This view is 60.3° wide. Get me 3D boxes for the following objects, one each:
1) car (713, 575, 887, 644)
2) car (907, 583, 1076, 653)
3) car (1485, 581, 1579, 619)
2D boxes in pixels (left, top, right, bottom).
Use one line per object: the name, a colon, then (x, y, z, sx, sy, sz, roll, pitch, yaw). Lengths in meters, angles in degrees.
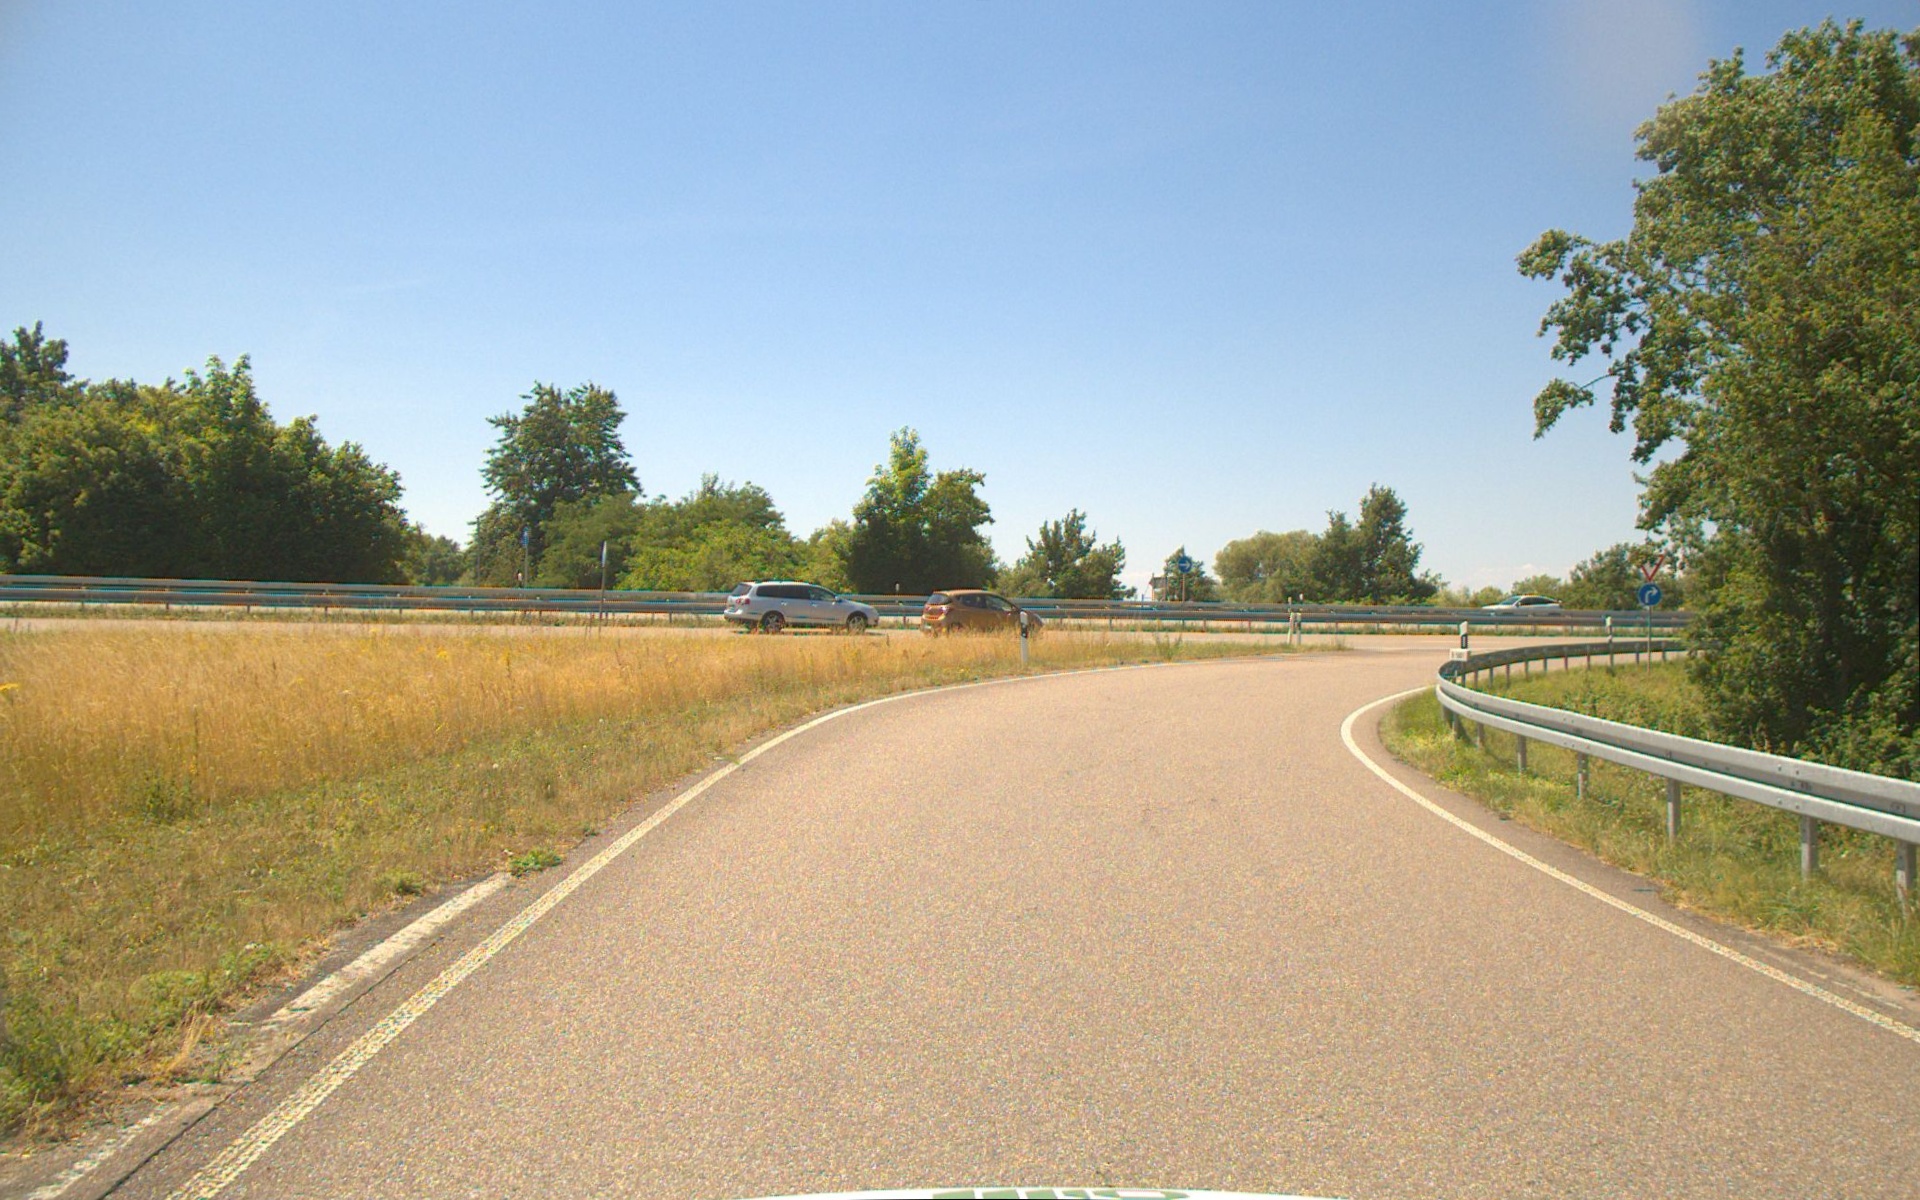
car: (-4.744, 0.280, 49.187, 4.712, 1.821, 1.983, 3, -1, -27)
car: (0.914, 0.521, 47.874, 4.459, 1.821, 1.983, 3, -1, -27)
car: (28.871, -0.002, 83.574, 4.023, 1.780, 1.998, 1, 1, -6)
